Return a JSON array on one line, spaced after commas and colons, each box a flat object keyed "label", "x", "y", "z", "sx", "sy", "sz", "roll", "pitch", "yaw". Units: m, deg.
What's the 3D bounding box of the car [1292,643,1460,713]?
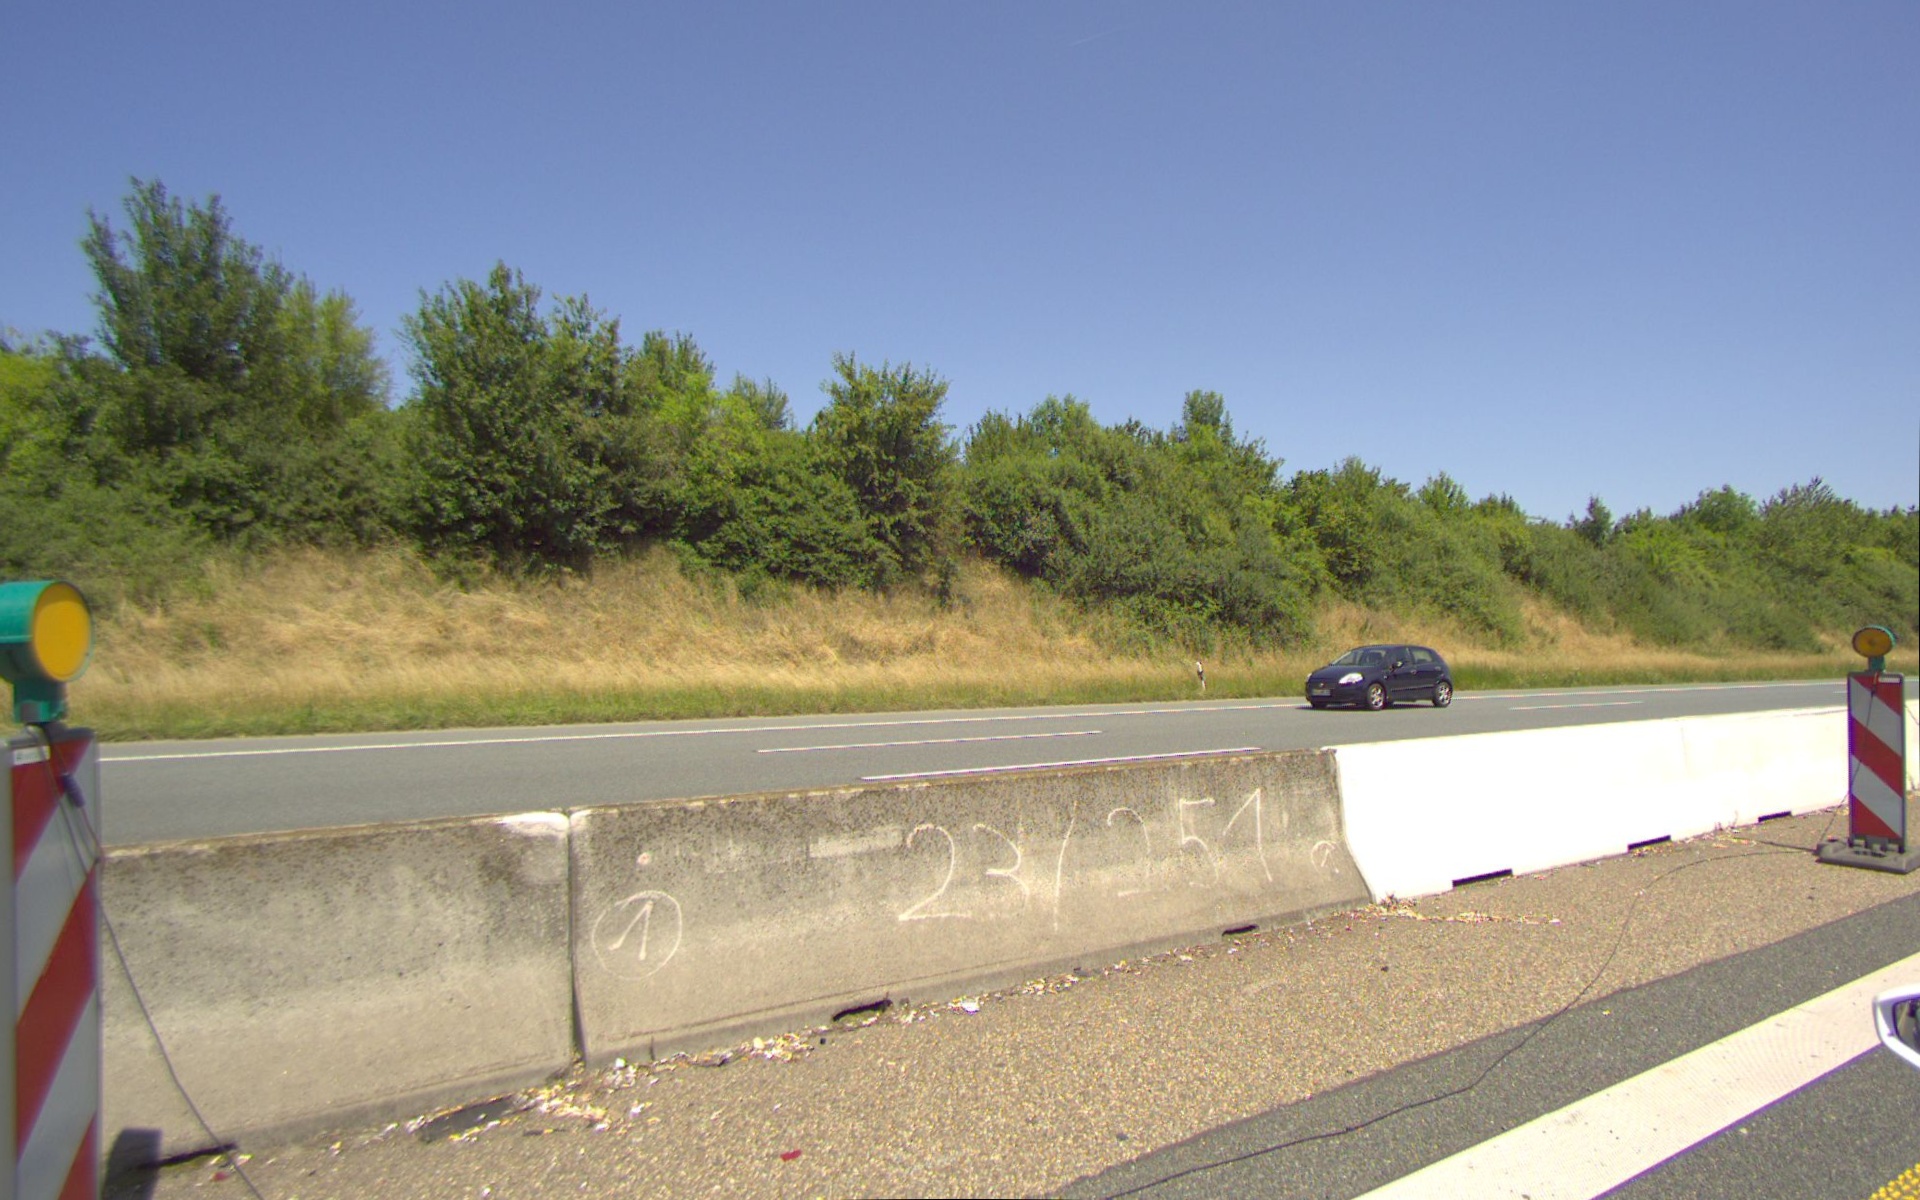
[{"label": "car", "x": 9.626, "y": 1.751, "z": 23.186, "sx": 3.807, "sy": 1.483, "sz": 1.700, "roll": 2, "pitch": -3, "yaw": -32}]
